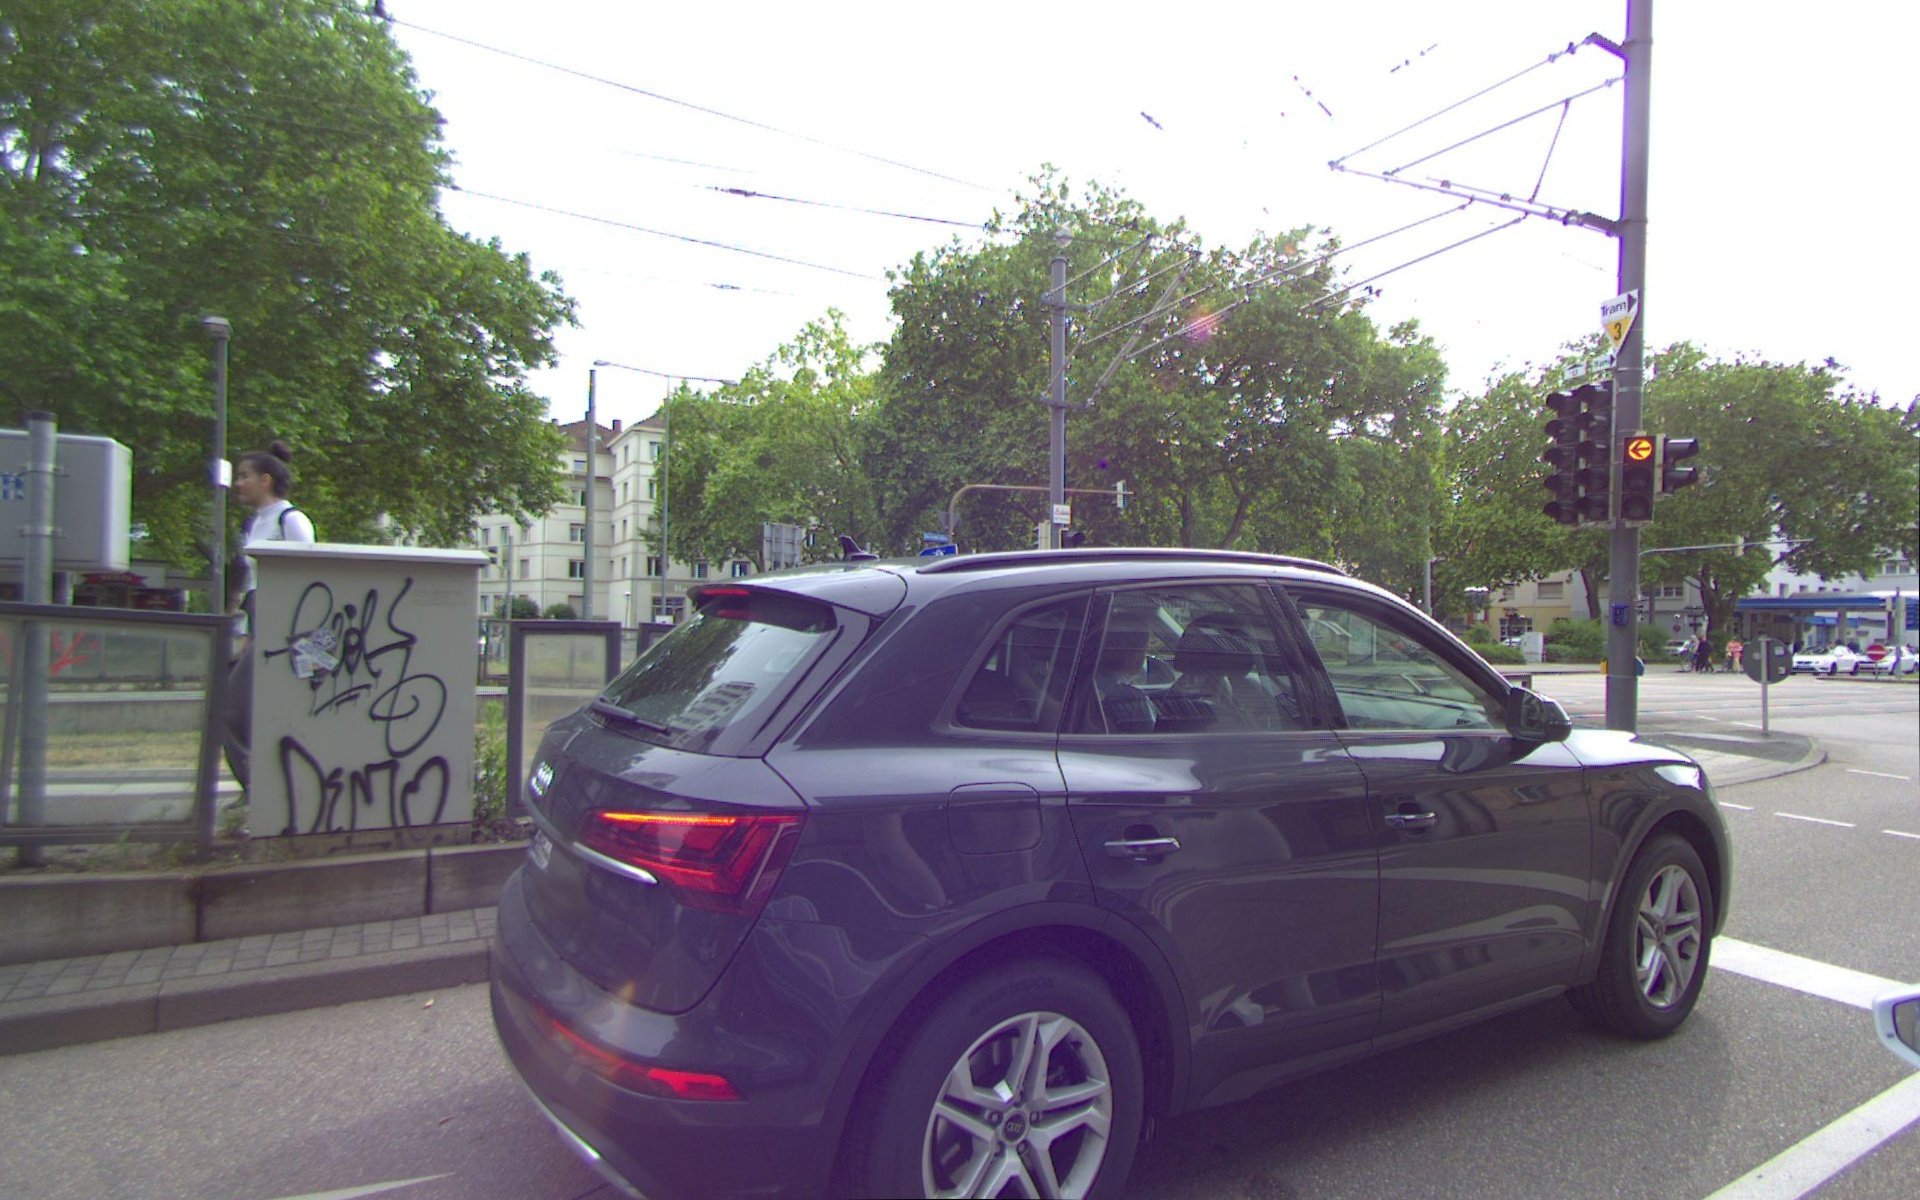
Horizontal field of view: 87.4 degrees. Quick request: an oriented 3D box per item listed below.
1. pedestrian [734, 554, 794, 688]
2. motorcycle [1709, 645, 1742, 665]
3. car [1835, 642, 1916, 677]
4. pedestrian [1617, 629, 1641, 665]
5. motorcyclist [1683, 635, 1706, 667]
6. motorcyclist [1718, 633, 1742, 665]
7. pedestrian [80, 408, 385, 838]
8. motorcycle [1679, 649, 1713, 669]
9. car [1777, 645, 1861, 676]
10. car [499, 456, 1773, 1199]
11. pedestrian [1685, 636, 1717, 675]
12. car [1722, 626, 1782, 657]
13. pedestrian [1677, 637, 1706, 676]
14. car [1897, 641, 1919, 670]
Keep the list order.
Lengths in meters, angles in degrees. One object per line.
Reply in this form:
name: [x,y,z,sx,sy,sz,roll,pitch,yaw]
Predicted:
pedestrian: [-2.984,0.318,15.276,0.658,1.976,0.732,2,0,-30]
motorcycle: [36.909,2.665,48.422,1.928,0.941,0.604,2,-1,-30]
car: [46.958,3.020,51.509,3.953,1.615,1.984,2,0,-30]
pedestrian: [32.822,2.296,49.258,0.732,1.713,0.681,2,0,-25]
motorcyclist: [35.784,2.480,48.935,0.863,1.540,0.617,2,-1,-30]
motorcyclist: [37.215,2.364,48.560,0.863,1.540,0.617,2,-1,-30]
pedestrian: [-3.173,0.101,4.497,0.967,1.692,0.716,2,0,-27]
motorcycle: [35.924,2.859,49.017,1.928,0.941,0.604,2,-1,-30]
car: [41.346,2.906,48.318,4.025,1.338,1.739,2,0,-29]
car: [0.801,0.645,3.452,4.177,1.658,1.725,2,0,-30]
pedestrian: [34.057,2.552,46.191,0.863,1.735,0.869,1,-1,-24]
car: [54.615,2.864,69.275,3.953,2.040,1.984,2,-1,-30]
pedestrian: [33.415,2.561,45.893,0.682,1.735,0.864,1,-1,-26]
car: [52.762,3.031,54.591,3.593,1.497,1.649,2,0,-29]
